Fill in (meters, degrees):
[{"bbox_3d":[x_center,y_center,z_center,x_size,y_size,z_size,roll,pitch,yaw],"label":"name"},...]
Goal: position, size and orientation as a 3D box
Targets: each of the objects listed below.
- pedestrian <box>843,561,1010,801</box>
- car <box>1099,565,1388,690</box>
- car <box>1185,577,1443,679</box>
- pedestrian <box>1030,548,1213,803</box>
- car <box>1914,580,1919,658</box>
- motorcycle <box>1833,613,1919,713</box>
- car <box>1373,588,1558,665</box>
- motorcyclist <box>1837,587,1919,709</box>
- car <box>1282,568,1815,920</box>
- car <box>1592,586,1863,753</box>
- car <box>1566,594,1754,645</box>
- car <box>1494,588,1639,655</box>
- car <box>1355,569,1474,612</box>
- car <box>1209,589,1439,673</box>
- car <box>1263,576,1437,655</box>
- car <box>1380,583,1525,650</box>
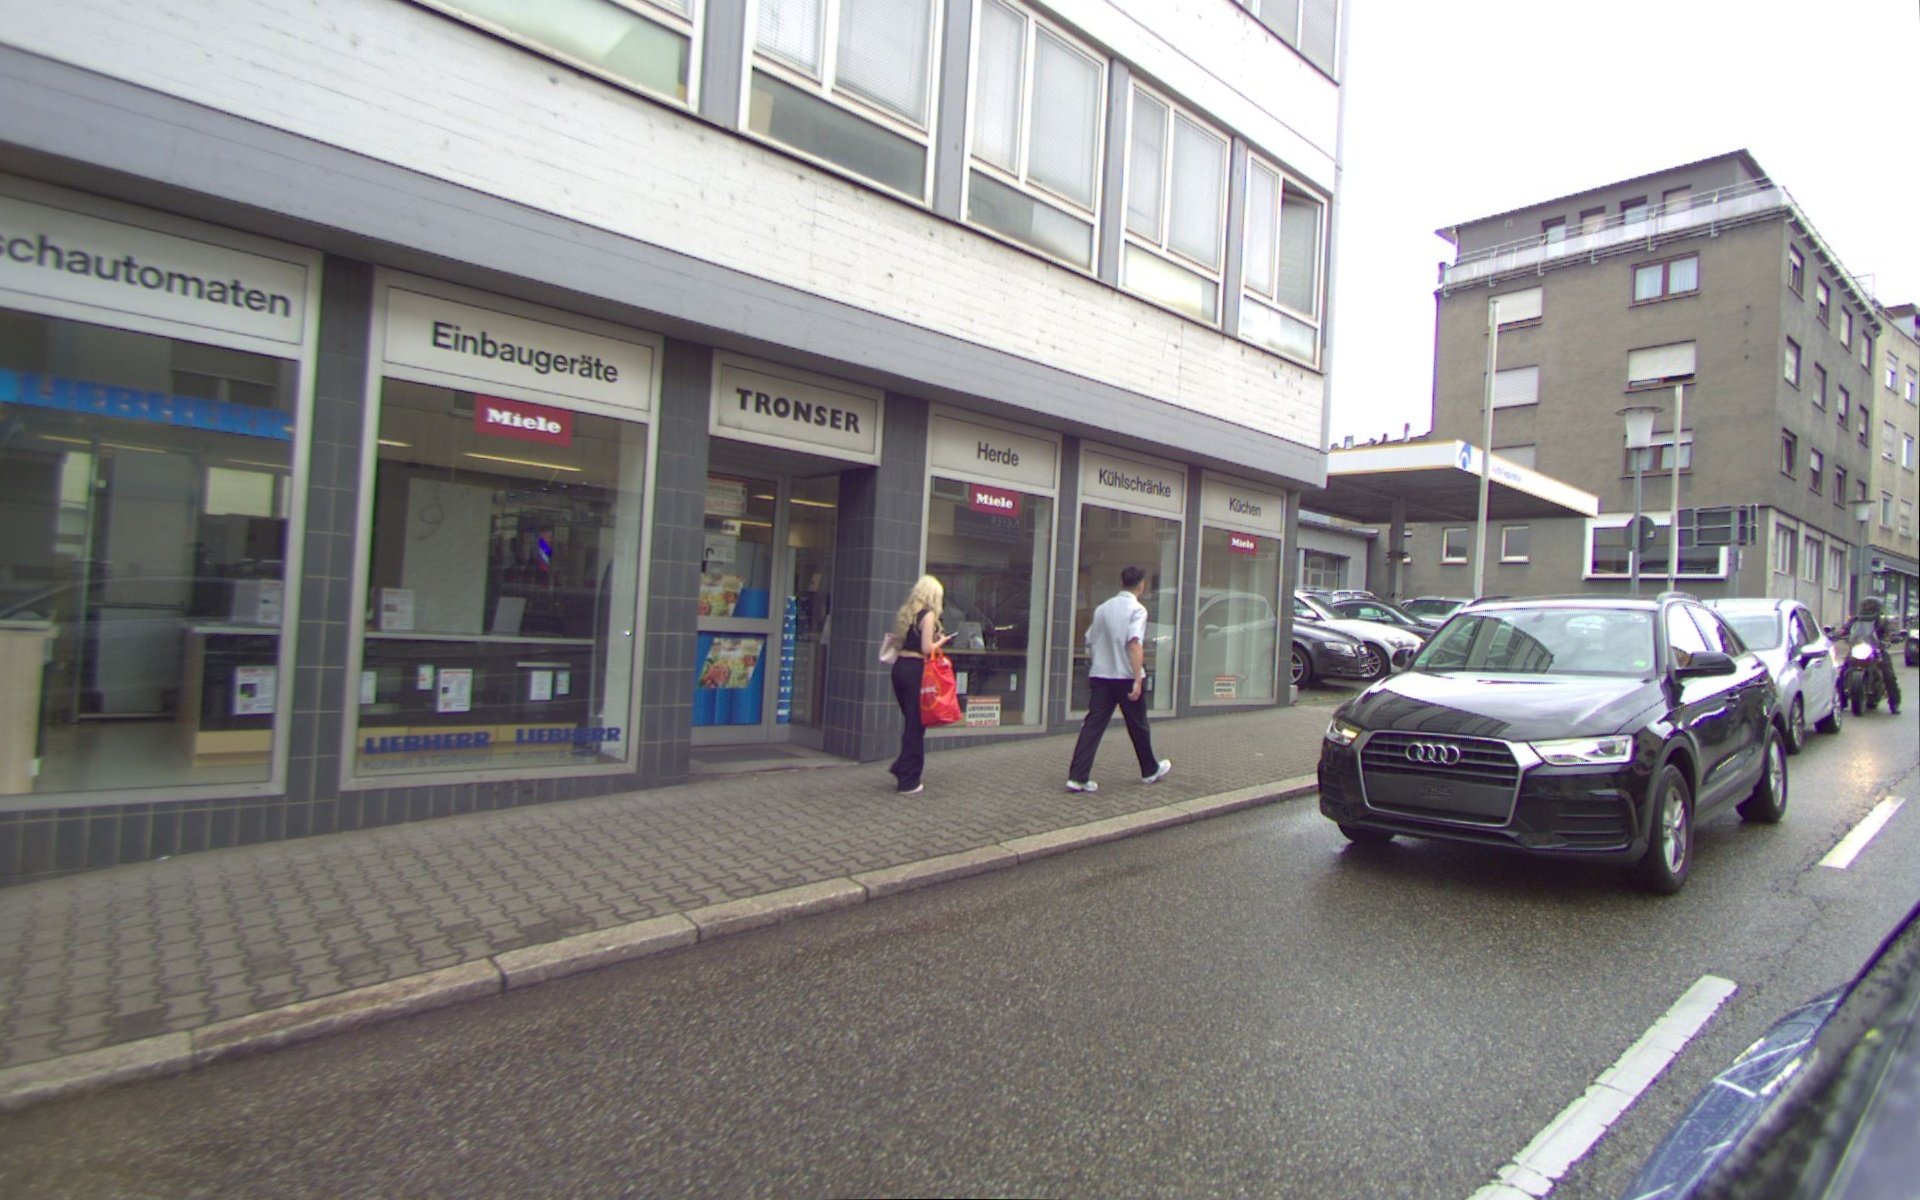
[{"bbox_3d":[-0.242,0.529,7.323,0.876,1.569,0.766,0,4,-44],"label":"pedestrian"},{"bbox_3d":[4.405,0.339,15.912,3.973,1.468,1.778,6,3,33],"label":"car"},{"bbox_3d":[6.155,0.411,17.749,3.973,1.549,1.742,2,1,34],"label":"car"},{"bbox_3d":[1.218,0.500,7.594,1.102,1.726,0.785,0,4,-44],"label":"pedestrian"},{"bbox_3d":[25.407,0.481,25.264,3.698,1.927,1.848,0,1,-39],"label":"car"},{"bbox_3d":[12.713,0.822,13.960,0.844,1.241,2.335,-2,-2,44],"label":"motorcycle"},{"bbox_3d":[10.934,0.506,21.765,4.531,1.433,1.793,0,2,-38],"label":"car"},{"bbox_3d":[12.706,0.639,13.949,0.845,1.610,0.947,-2,-2,44],"label":"motorcyclist"},{"bbox_3d":[4.035,0.661,6.628,4.129,1.580,1.825,0,-1,-42],"label":"car"},{"bbox_3d":[8.872,0.676,11.563,4.182,1.561,1.827,0,-2,-44],"label":"car"},{"bbox_3d":[22.253,0.589,32.335,1.963,1.523,4.534,0,-1,-36],"label":"car"},{"bbox_3d":[15.312,0.491,25.462,4.358,1.530,1.792,0,1,-40],"label":"car"},{"bbox_3d":[17.323,-0.382,38.697,1.761,1.472,3.753,3,1,-38],"label":"car"},{"bbox_3d":[7.112,0.535,19.950,3.975,1.418,1.650,2,1,36],"label":"car"},{"bbox_3d":[9.159,0.370,23.633,4.411,1.563,1.793,2,3,-40],"label":"car"},{"bbox_3d":[13.280,0.458,27.198,4.339,1.530,1.793,2,3,-40],"label":"car"}]
